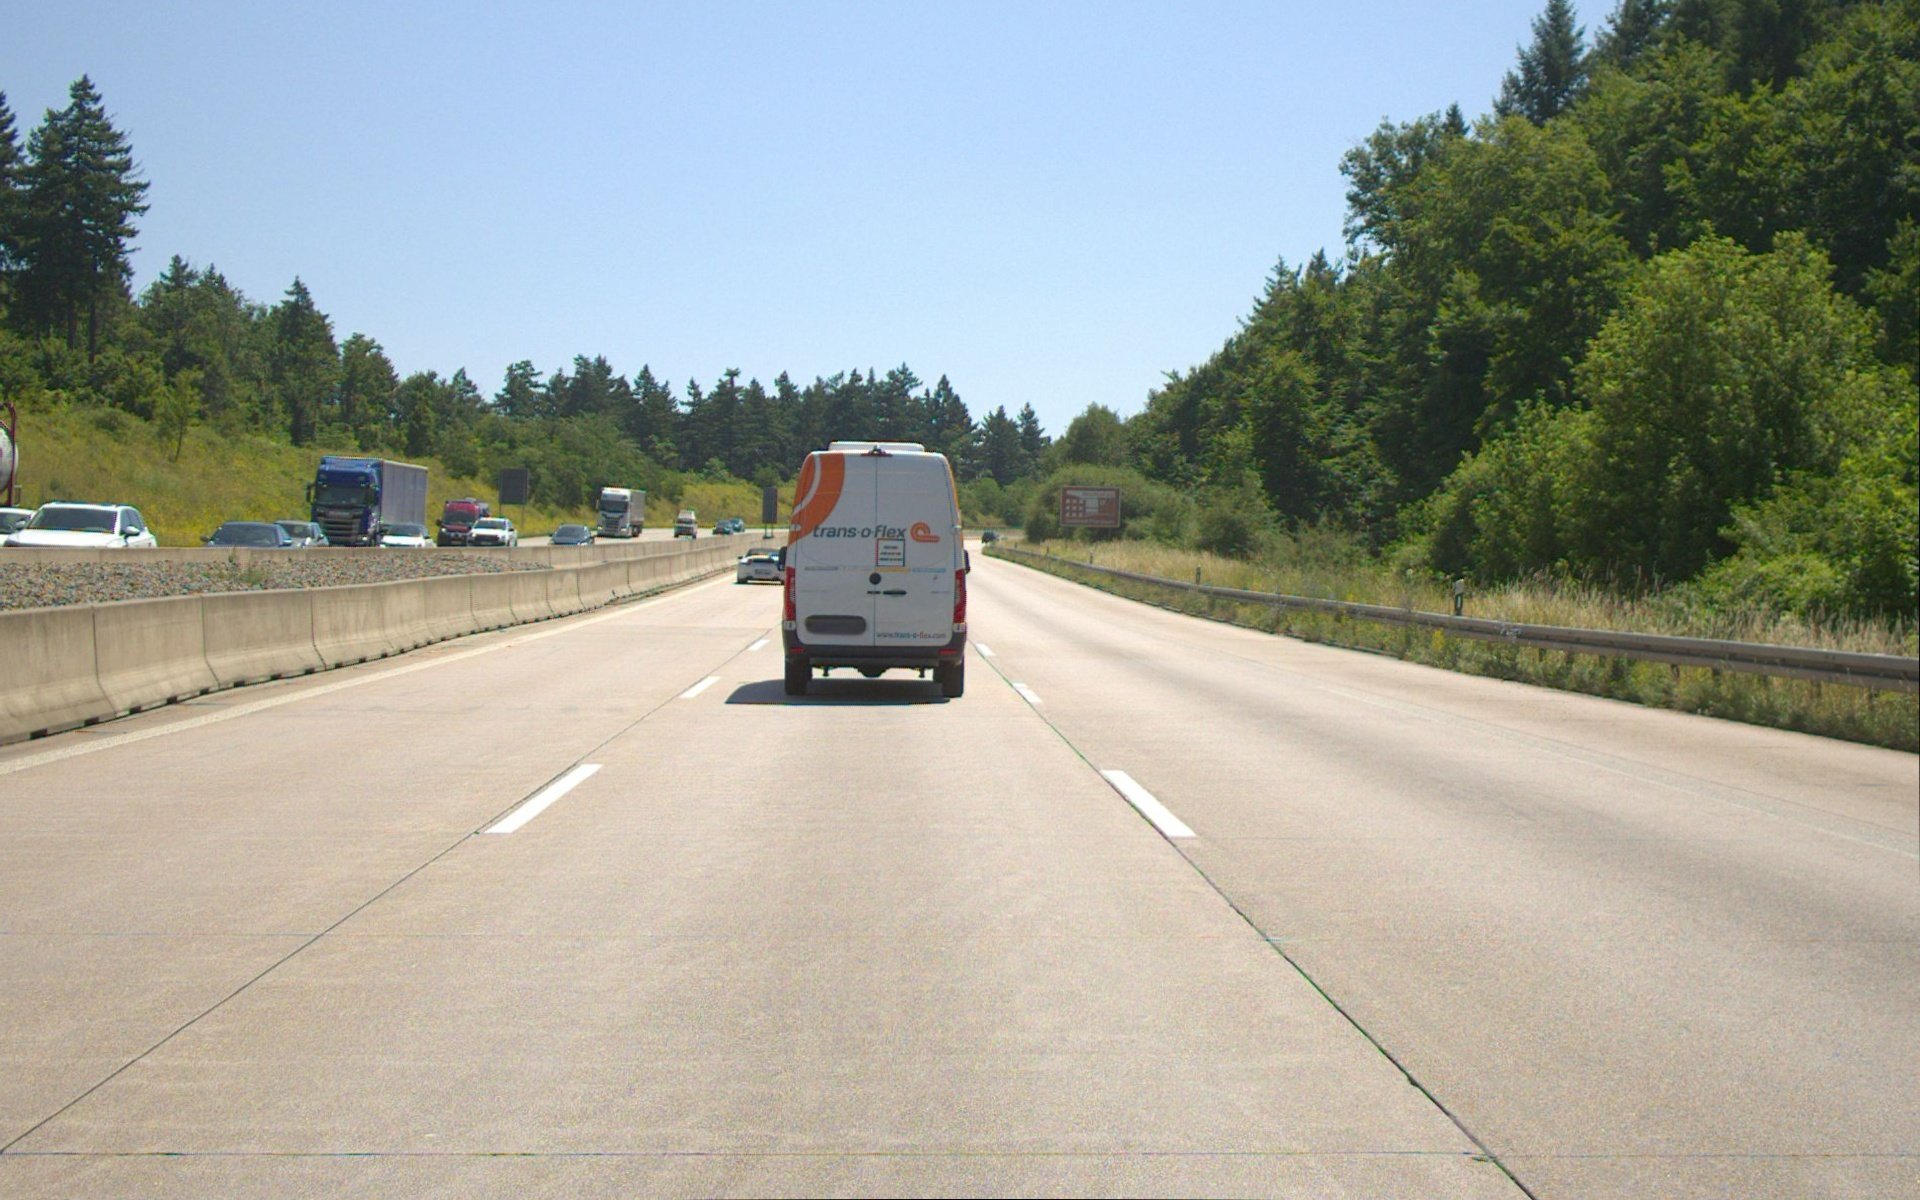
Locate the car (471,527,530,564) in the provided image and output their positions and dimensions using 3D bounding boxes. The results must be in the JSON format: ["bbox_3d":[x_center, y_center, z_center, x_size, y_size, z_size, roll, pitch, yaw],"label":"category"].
[{"bbox_3d":[-20.808,-2.473,155.836,1.993,1.577,5.519,2,1,-1],"label":"car"}]

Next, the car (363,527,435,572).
[{"bbox_3d":[-20.956,-1.896,128.526,1.993,1.577,4.530,2,1,-1],"label":"car"}]

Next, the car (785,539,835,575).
[{"bbox_3d":[-7.258,-2.081,166.449,1.994,1.678,4.000,2,1,3],"label":"car"}]

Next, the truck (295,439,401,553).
[{"bbox_3d":[-25.263,-4.249,142.152,3.256,4.489,6.575,2,1,-2],"label":"truck"}]

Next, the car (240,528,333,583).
[{"bbox_3d":[-20.533,-1.368,104.996,1.993,1.577,4.430,2,1,-1],"label":"car"}]

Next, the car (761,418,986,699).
[{"bbox_3d":[-0.977,-0.496,38.463,2.226,2.834,5.455,2,1,-2],"label":"car"}]

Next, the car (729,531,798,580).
[{"bbox_3d":[-6.981,-1.582,122.594,1.994,1.678,4.000,2,1,3],"label":"car"}]

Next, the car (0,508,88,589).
[{"bbox_3d":[-19.241,-1.066,69.896,1.993,1.577,4.180,2,1,-1],"label":"car"}]

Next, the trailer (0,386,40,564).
[{"bbox_3d":[-23.823,-2.946,78.849,2.933,4.154,9.335,2,1,-1],"label":"trailer"}]

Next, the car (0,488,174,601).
[{"bbox_3d":[-15.530,-0.988,61.149,1.993,1.866,4.968,2,1,-1],"label":"car"}]

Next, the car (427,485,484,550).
[{"bbox_3d":[-26.008,-4.238,177.506,1.993,3.230,7.061,2,1,-2],"label":"car"}]
